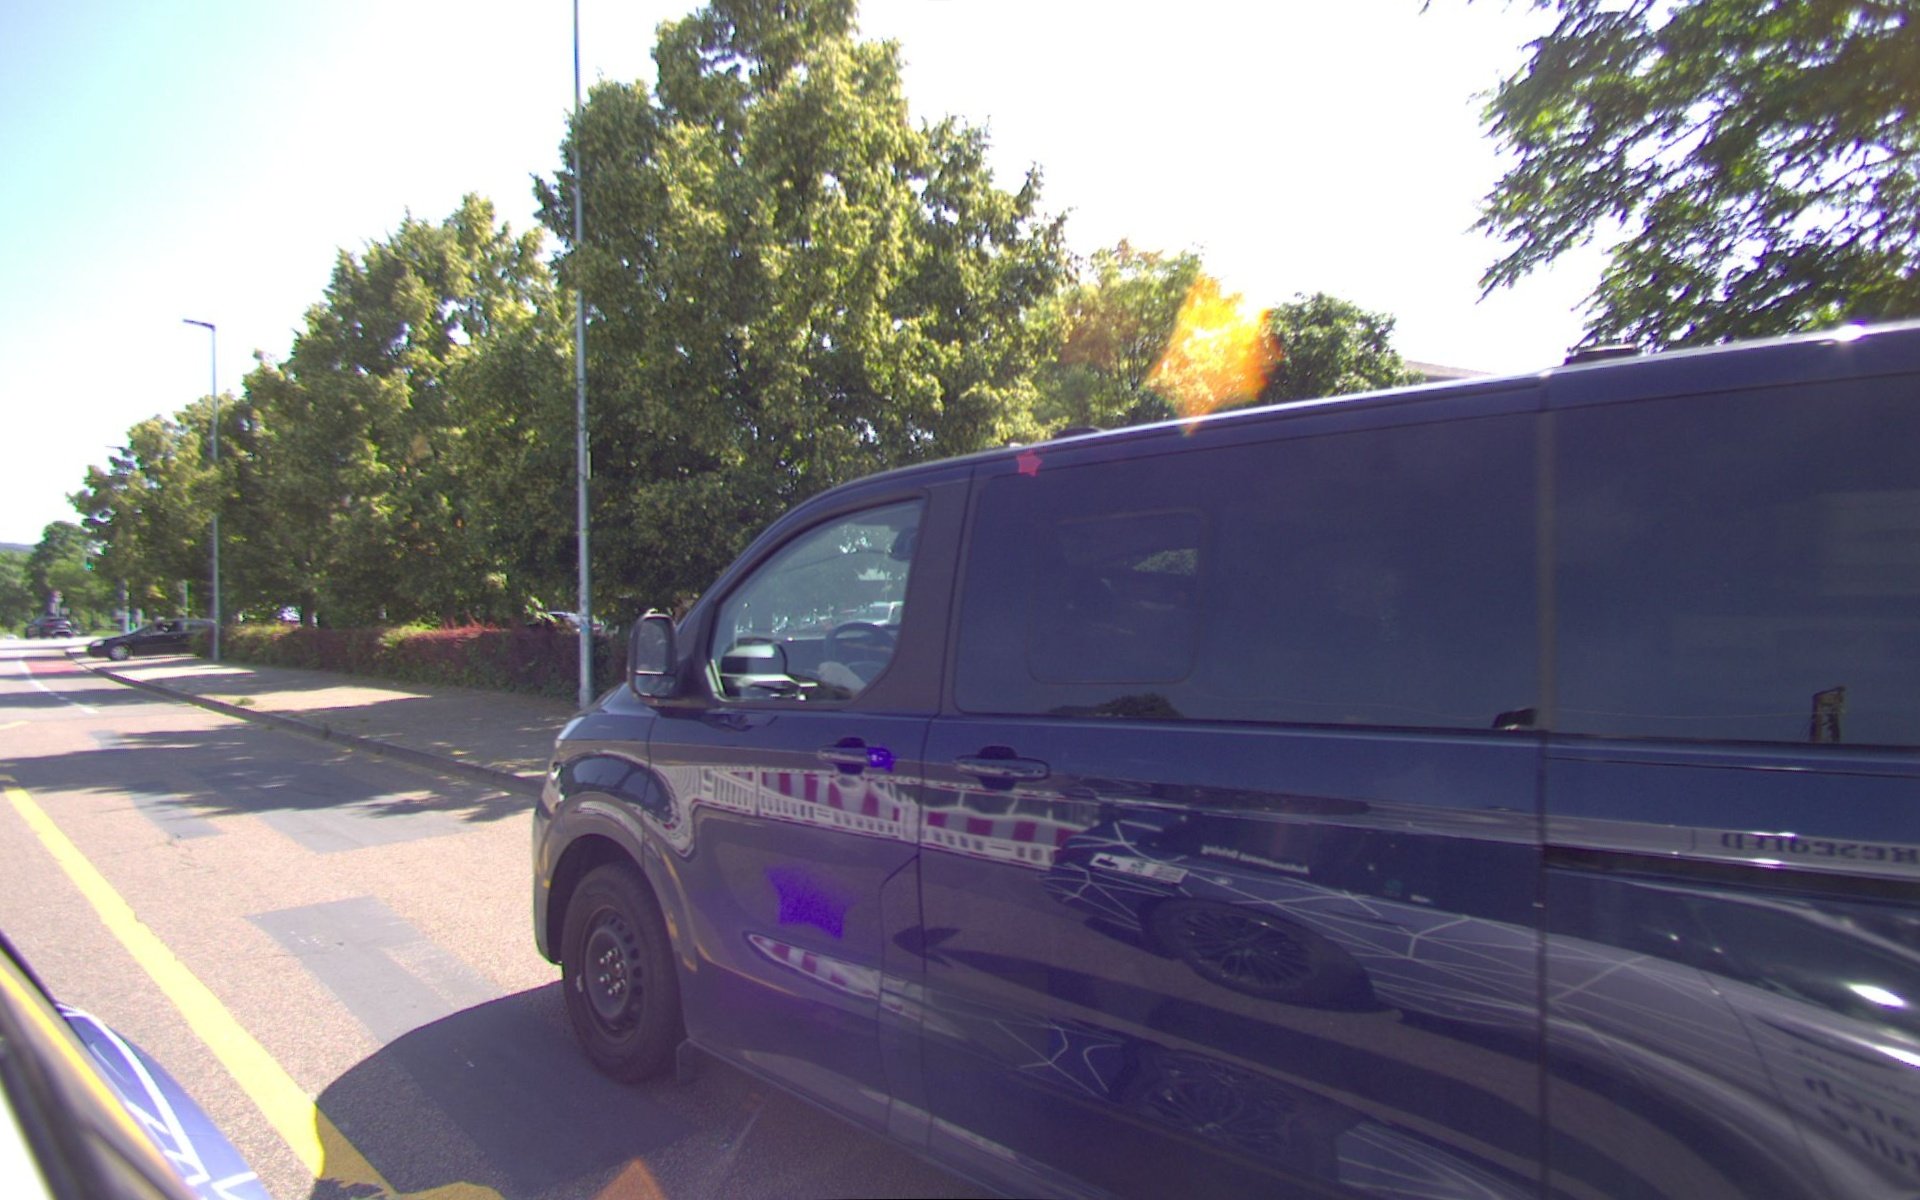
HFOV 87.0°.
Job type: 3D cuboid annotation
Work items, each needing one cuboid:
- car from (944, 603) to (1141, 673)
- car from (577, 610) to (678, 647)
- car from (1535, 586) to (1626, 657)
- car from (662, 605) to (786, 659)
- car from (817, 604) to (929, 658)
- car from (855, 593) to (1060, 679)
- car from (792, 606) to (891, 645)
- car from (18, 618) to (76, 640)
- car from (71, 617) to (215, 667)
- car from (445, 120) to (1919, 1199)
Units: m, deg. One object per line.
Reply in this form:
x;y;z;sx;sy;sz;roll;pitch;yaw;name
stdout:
1.857;0.870;23.574;4.365;1.464;1.837;-1;-3;41;car
-14.687;1.246;44.675;4.122;1.564;1.903;-1;-1;27;car
15.605;0.498;25.445;1.768;1.584;3.956;-2;0;32;car
-8.011;1.045;34.747;1.853;1.698;4.274;-1;-1;26;car
-2.845;1.000;34.090;1.852;1.698;4.330;-1;-1;25;car
-0.125;0.776;22.017;4.365;1.699;1.837;-1;-3;41;car
-5.600;1.197;47.593;4.348;1.698;1.844;-1;2;29;car
-69.940;2.218;77.497;4.508;1.657;1.980;-1;-1;29;car
-29.752;1.493;36.927;3.940;1.475;1.883;-4;2;-43;car
0.786;0.494;2.857;5.443;1.983;2.153;-1;-3;42;car
